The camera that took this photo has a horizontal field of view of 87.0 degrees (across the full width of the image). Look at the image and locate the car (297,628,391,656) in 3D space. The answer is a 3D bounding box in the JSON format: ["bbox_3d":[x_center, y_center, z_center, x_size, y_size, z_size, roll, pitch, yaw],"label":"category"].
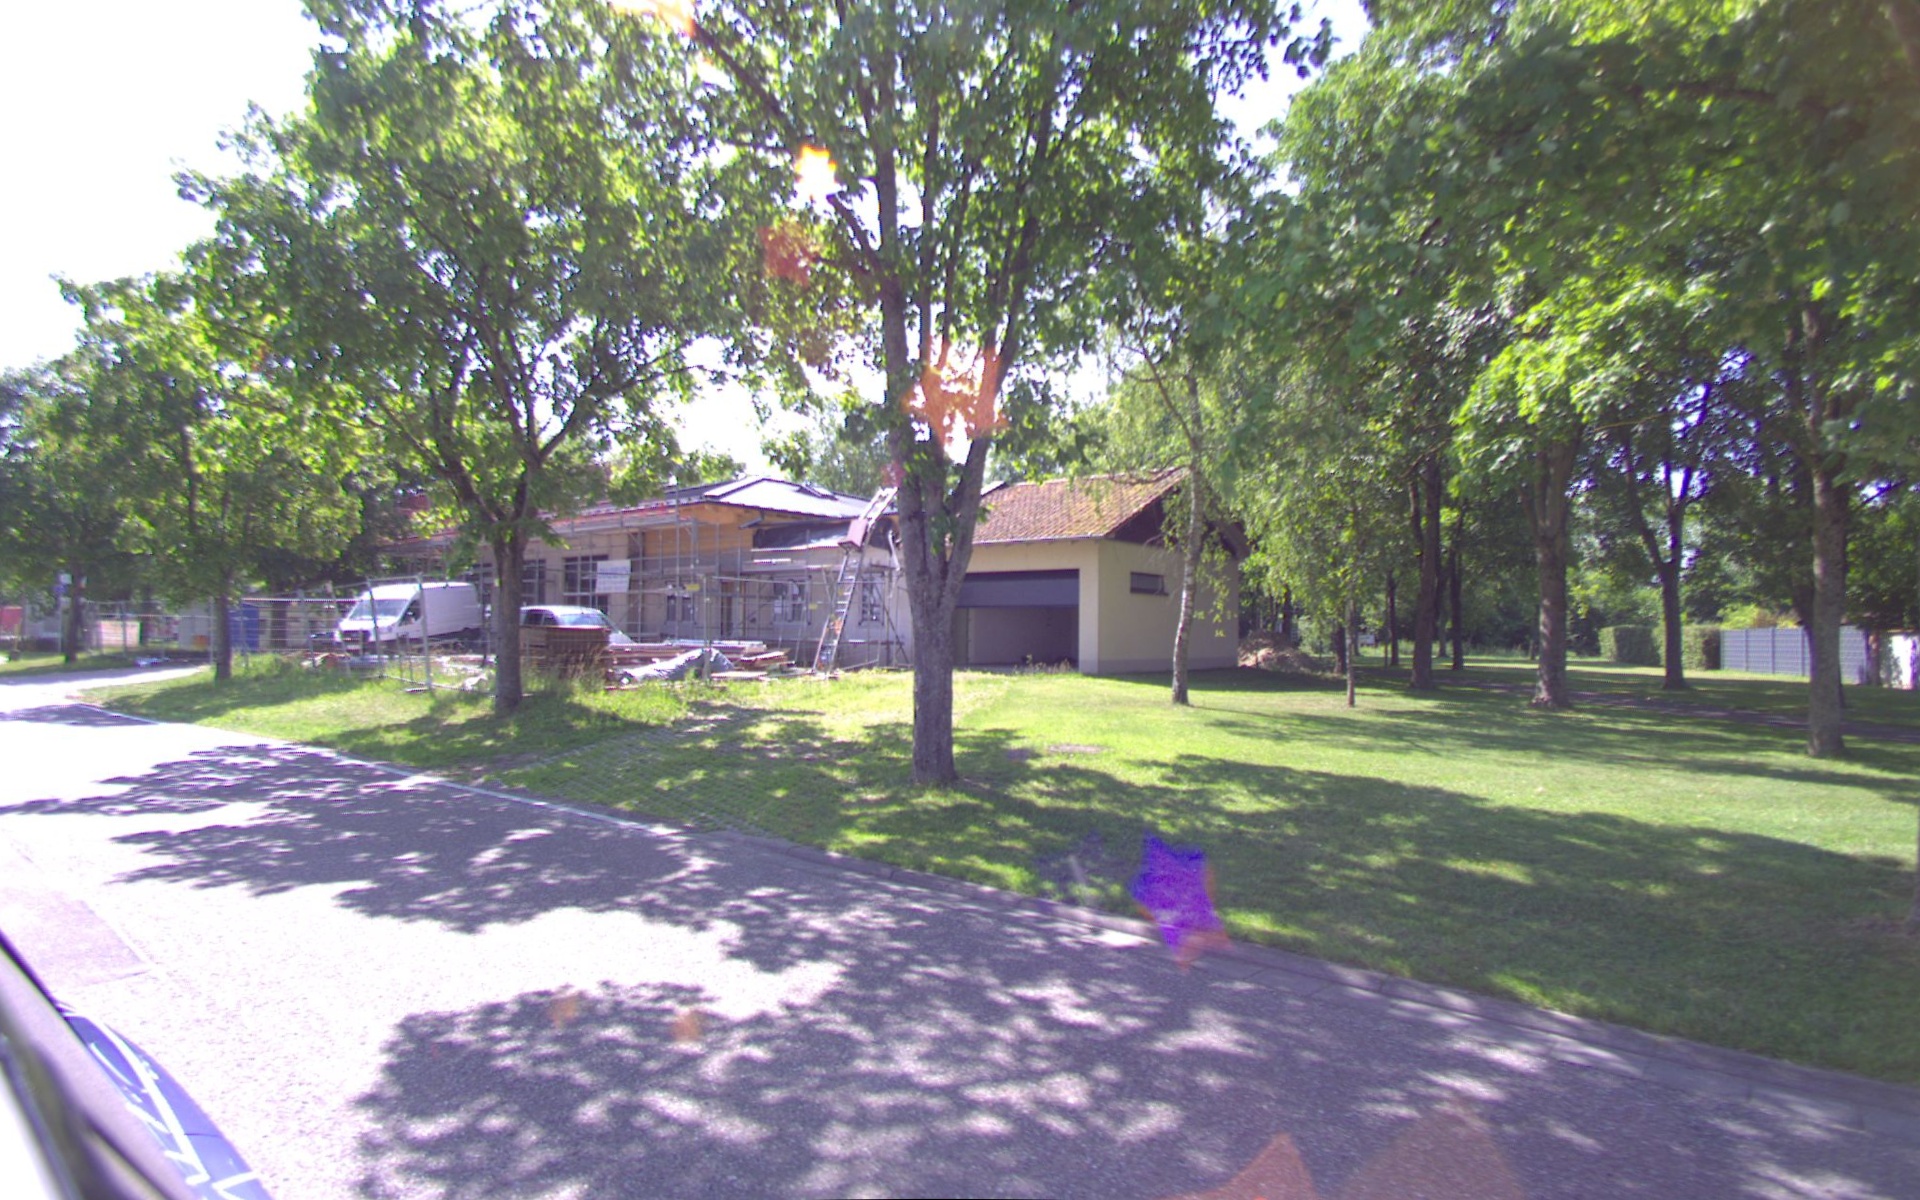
[{"bbox_3d":[-32.078,2.208,52.784,1.754,1.410,3.770,-1,-3,32],"label":"car"}]

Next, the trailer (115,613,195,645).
[{"bbox_3d":[-59.711,2.164,75.154,1.819,2.295,4.199,-1,-3,26],"label":"trailer"}]

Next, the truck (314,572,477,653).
[{"bbox_3d":[-18.958,0.445,34.393,1.974,2.502,5.926,0,-1,3],"label":"truck"}]

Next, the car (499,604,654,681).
[{"bbox_3d":[-10.145,1.077,26.664,4.324,1.852,1.950,-1,-2,40],"label":"car"}]
